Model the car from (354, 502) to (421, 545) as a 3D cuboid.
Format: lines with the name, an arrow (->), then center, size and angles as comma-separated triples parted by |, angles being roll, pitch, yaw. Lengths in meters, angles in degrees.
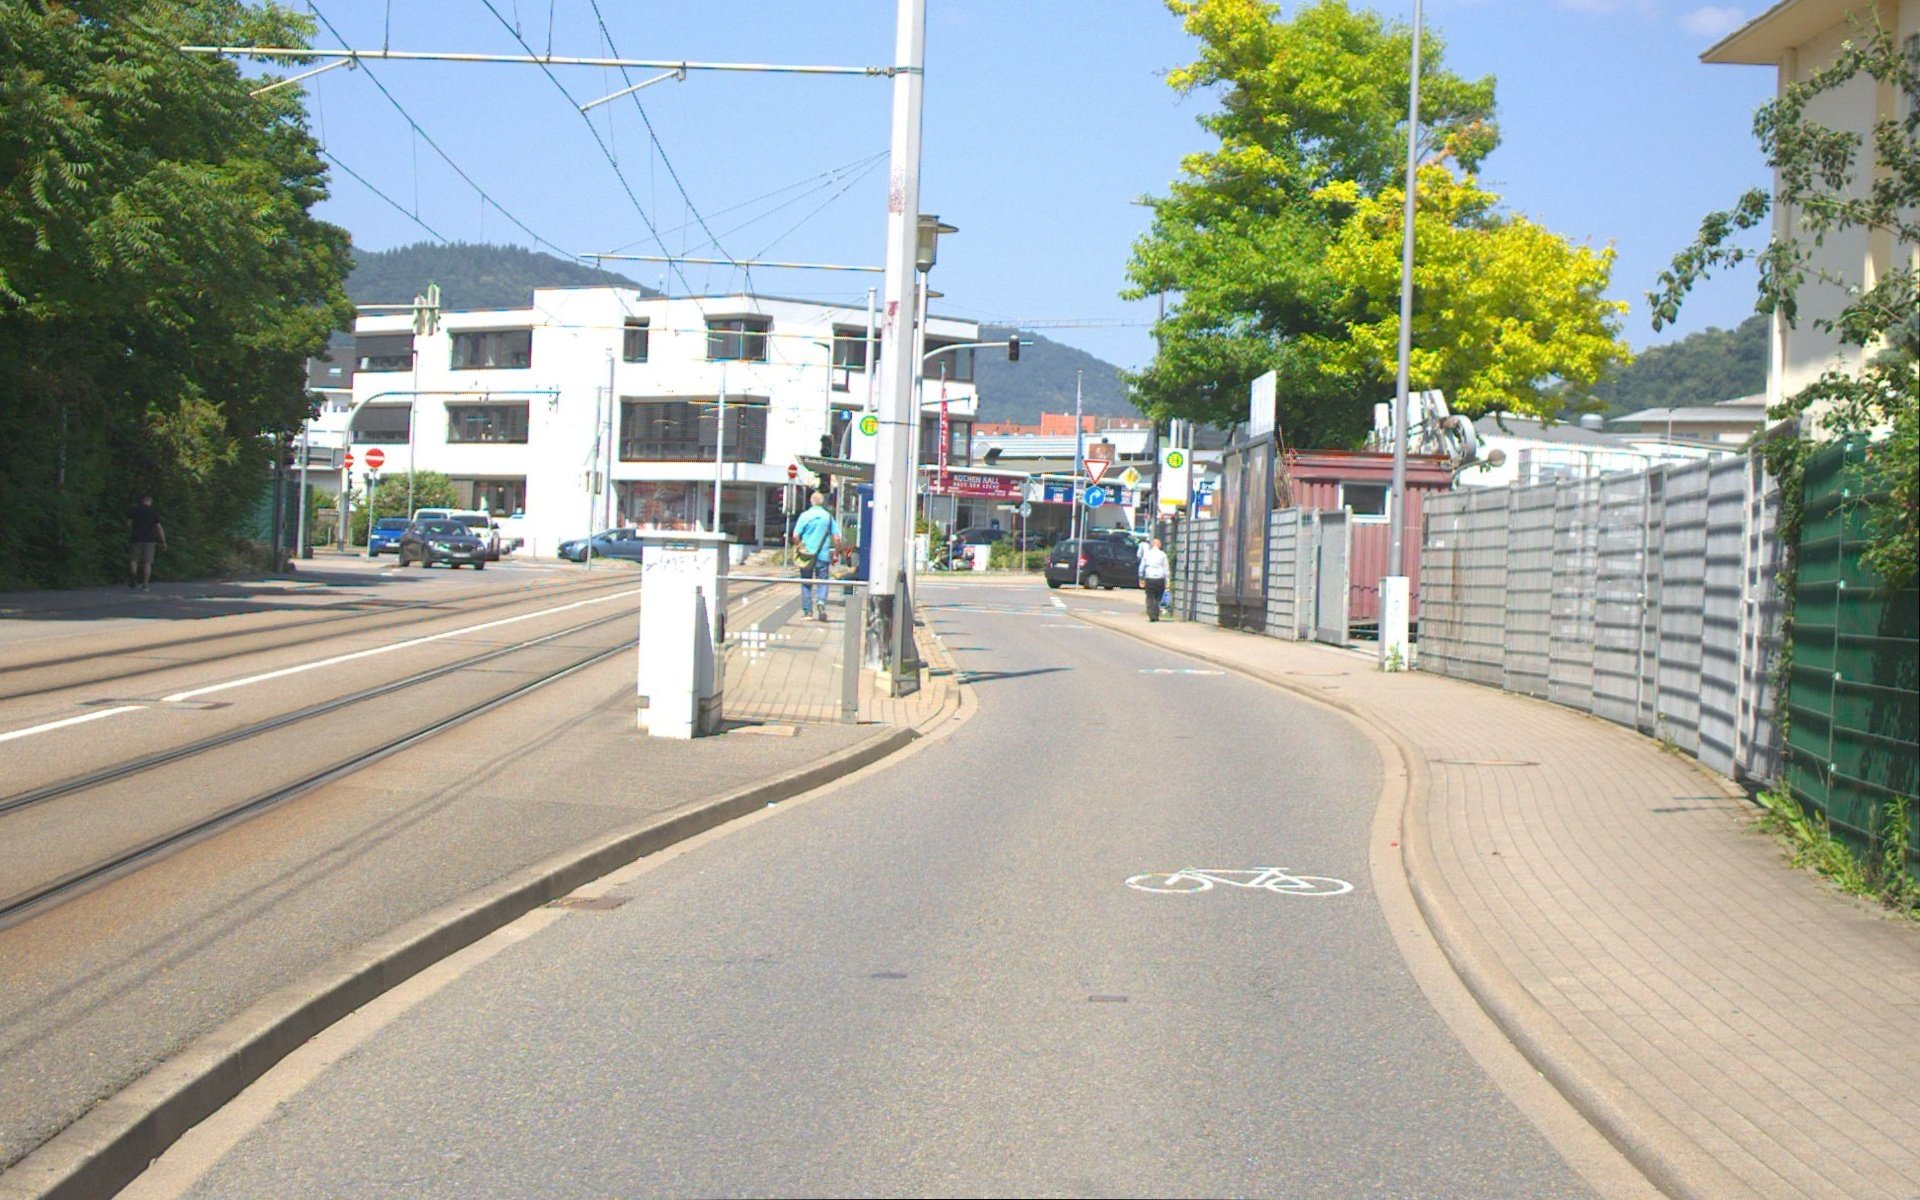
car -> -21.157, -2.829, 126.947 | 1.755, 1.484, 3.763 | 1, 1, -20

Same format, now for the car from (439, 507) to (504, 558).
car -> -16.469, -2.288, 116.021 | 1.756, 1.641, 3.762 | 2, 1, -3

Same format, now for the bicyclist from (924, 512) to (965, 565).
bicyclist -> -0.604, -2.359, 131.496 | 1.292, 1.898, 1.091 | 3, 4, -10

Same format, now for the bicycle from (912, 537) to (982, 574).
bicycle -> -0.506, -1.704, 131.583 | 2.444, 1.182, 1.117 | 4, 4, -10

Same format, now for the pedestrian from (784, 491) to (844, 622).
pedestrian -> -1.971, -0.595, 46.473 | 0.743, 1.734, 0.727 | 2, 1, -1

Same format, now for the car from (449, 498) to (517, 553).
car -> -14.076, -2.191, 101.552 | 1.786, 1.546, 4.001 | 1, 1, -6

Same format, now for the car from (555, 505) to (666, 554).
car -> -13.058, -2.624, 128.298 | 3.892, 1.674, 1.732 | 2, 1, -12

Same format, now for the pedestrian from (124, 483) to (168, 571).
pedestrian -> -14.323, -1.283, 60.522 | 0.584, 1.532, 0.657 | 2, 1, -1

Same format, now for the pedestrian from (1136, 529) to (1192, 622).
pedestrian -> 4.038, -0.492, 68.250 | 0.940, 1.781, 0.953 | 3, 2, -2
